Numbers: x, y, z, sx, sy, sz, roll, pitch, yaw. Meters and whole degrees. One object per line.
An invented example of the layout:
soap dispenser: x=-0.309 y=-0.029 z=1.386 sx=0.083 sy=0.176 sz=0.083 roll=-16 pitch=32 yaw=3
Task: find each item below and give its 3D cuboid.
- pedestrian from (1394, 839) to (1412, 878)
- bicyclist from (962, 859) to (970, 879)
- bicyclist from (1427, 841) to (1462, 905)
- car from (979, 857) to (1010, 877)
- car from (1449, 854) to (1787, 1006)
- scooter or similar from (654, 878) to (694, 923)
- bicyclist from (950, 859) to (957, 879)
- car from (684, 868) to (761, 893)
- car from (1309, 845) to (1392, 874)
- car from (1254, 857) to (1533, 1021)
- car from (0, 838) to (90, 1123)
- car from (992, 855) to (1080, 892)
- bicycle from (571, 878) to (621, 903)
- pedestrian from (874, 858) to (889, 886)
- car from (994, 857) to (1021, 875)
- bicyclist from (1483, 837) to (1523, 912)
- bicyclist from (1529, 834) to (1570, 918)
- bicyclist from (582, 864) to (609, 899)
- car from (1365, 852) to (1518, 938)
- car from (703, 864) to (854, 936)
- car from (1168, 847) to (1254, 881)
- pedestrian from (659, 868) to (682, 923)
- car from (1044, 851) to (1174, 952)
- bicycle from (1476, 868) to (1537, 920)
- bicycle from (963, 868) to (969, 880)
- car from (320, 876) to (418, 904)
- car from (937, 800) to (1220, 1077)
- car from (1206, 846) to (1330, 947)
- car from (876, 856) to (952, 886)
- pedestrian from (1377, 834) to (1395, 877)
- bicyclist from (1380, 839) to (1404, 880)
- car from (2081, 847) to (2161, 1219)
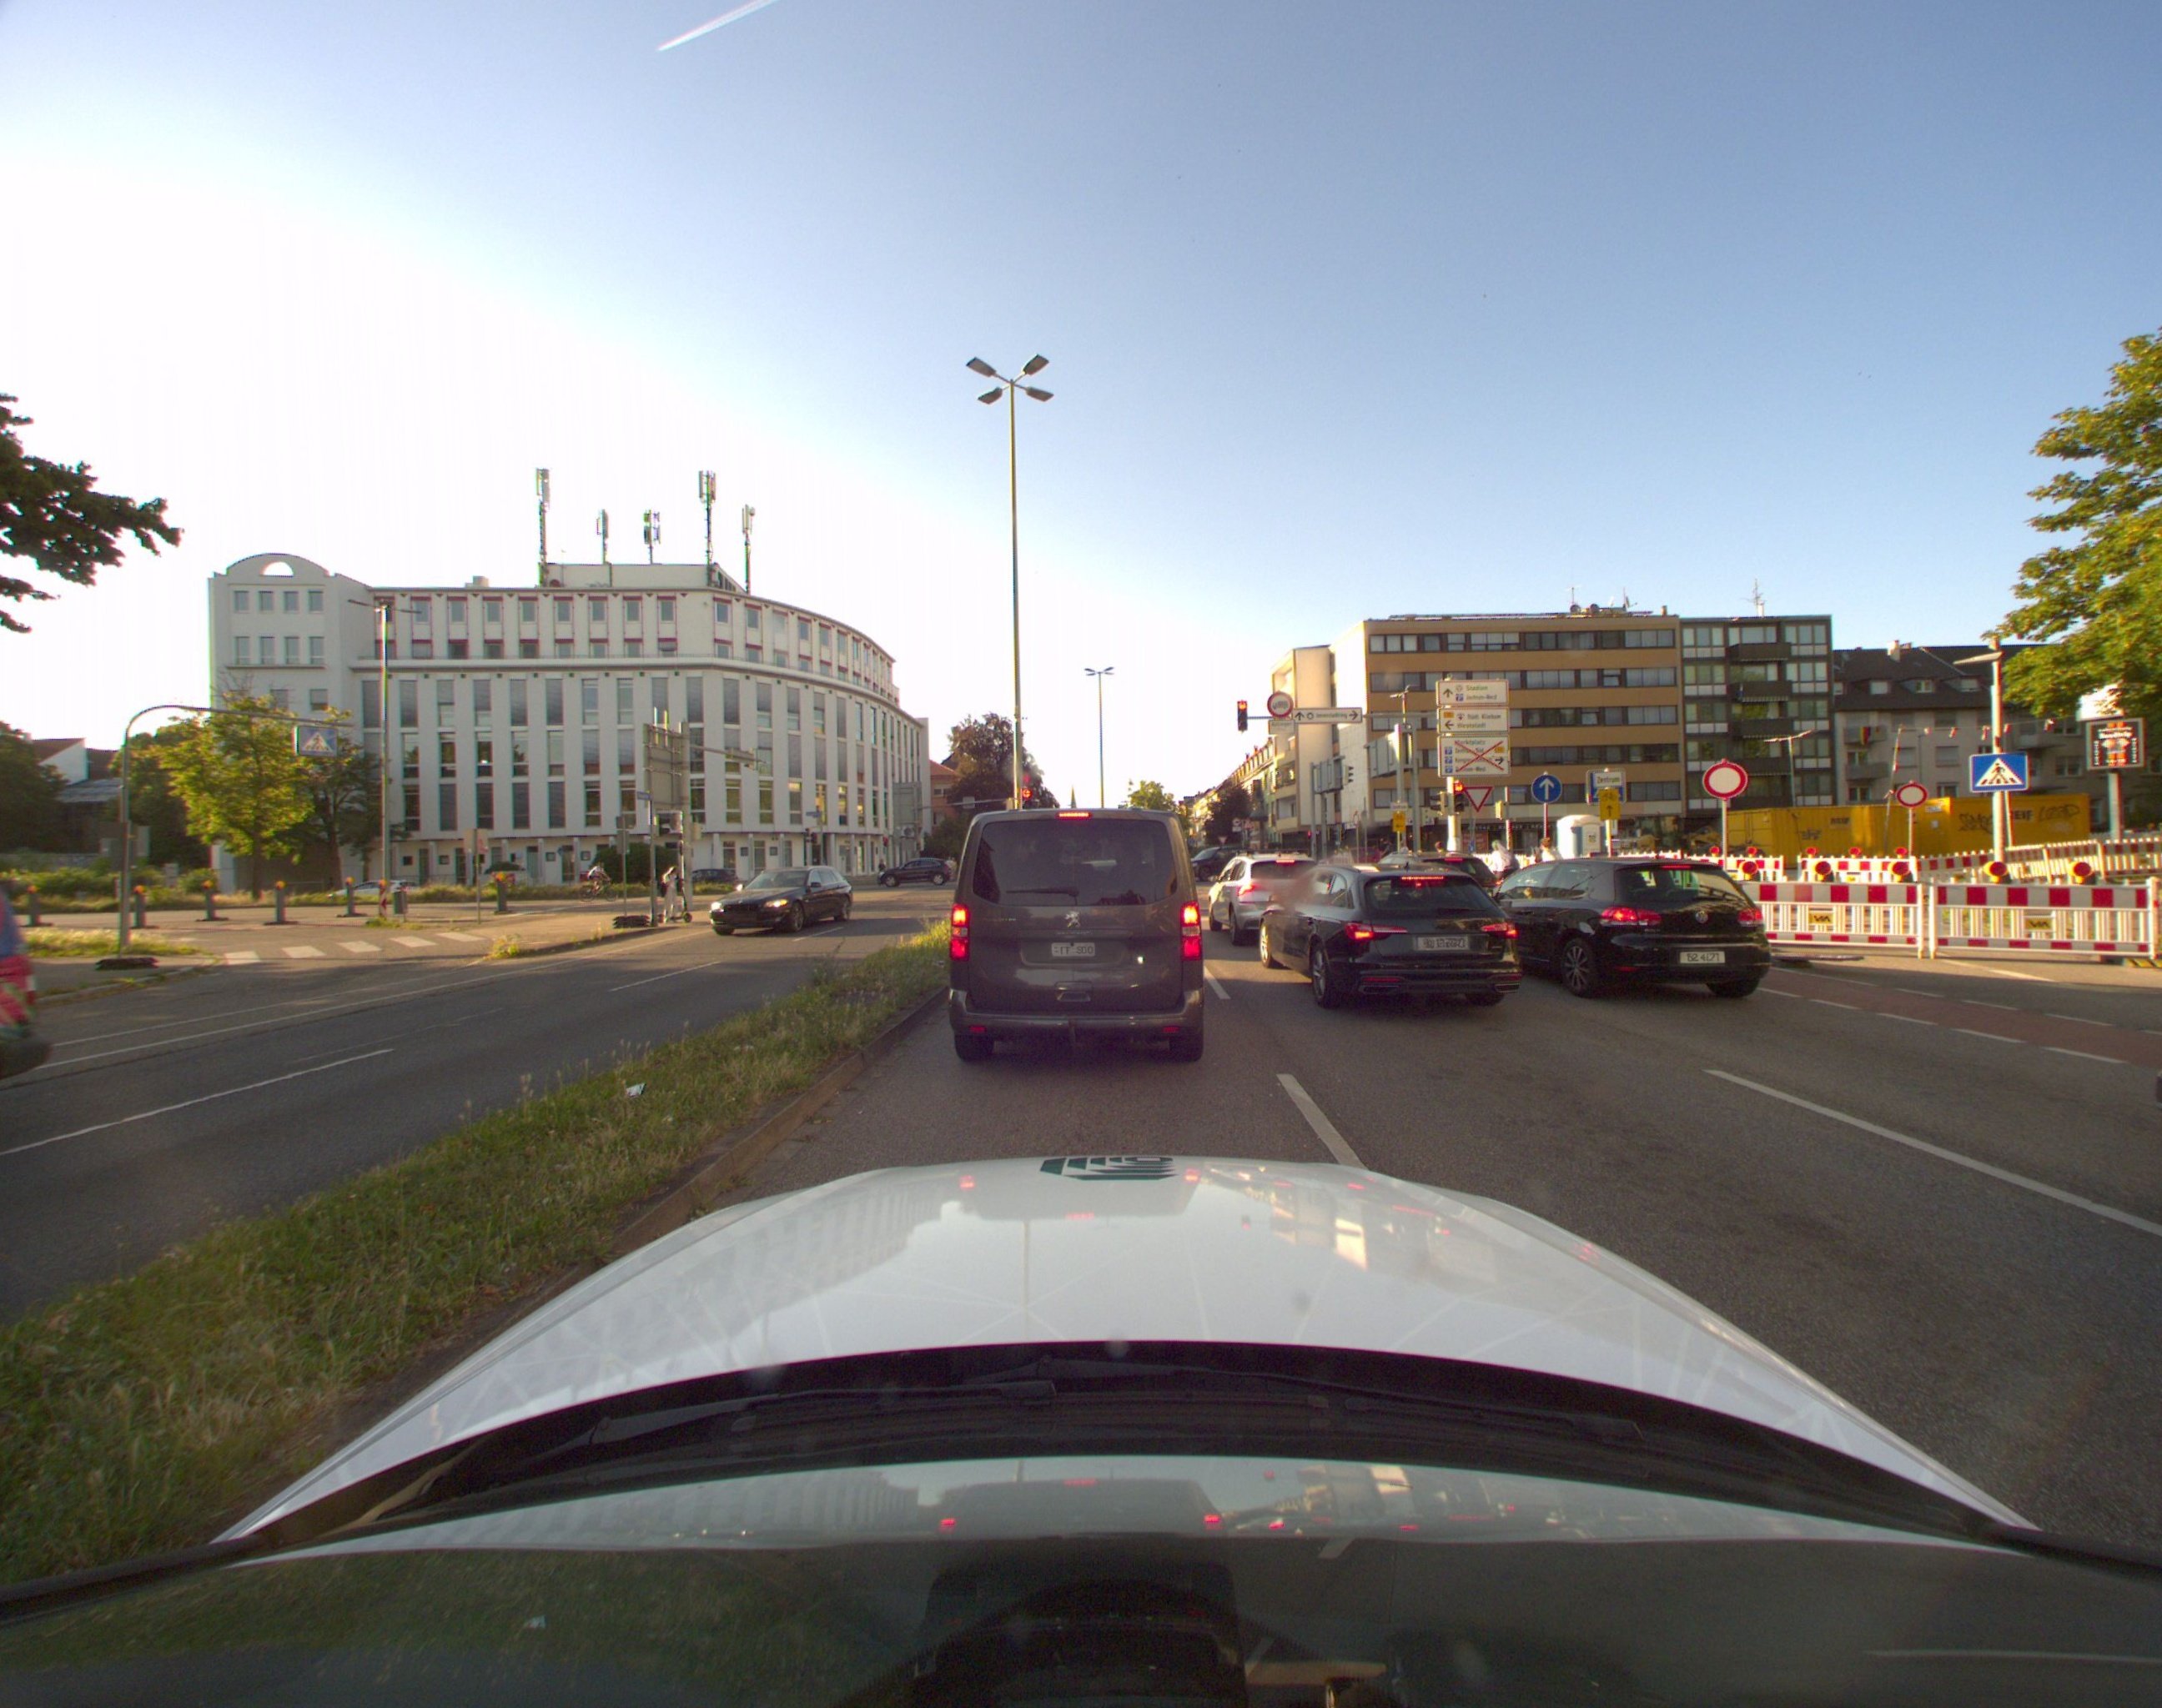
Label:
pedestrian: x=14.017 y=0.199 z=35.455 sx=0.599 sy=1.671 sz=0.455 roll=-2 pitch=0 yaw=3
bicyclist: x=-8.919 y=1.136 z=63.348 sx=0.475 sy=1.555 sz=0.510 roll=-2 pitch=0 yaw=1
bicyclist: x=8.975 y=0.457 z=20.126 sx=0.511 sy=1.525 sz=0.725 roll=-2 pitch=0 yaw=1
car: x=-6.613 y=0.975 z=62.746 sx=1.850 sy=1.420 sz=4.000 roll=-2 pitch=0 yaw=0
car: x=5.965 y=0.728 z=9.642 sx=1.627 sy=1.449 sz=3.746 roll=0 pitch=0 yaw=2
scooter or similar: x=-11.476 y=1.302 z=22.982 sx=0.893 sy=1.234 sz=0.370 roll=-2 pitch=0 yaw=-10
bicyclist: x=-9.920 y=1.164 z=63.409 sx=0.461 sy=1.522 sz=0.469 roll=-2 pitch=0 yaw=1
car: x=-20.361 y=1.484 z=46.386 sx=3.602 sy=1.296 sz=1.832 roll=-2 pitch=0 yaw=-7
car: x=14.560 y=0.300 z=44.088 sx=3.990 sy=1.418 sz=1.675 roll=-2 pitch=0 yaw=-12
car: x=3.199 y=0.757 z=9.276 sx=1.675 sy=1.421 sz=4.215 roll=0 pitch=0 yaw=2
car: x=-7.927 y=0.836 z=3.546 sx=1.987 sy=1.817 sz=4.229 roll=-2 pitch=0 yaw=0
car: x=-1.838 y=0.802 z=34.489 sx=1.660 sy=1.418 sz=4.025 roll=-2 pitch=0 yaw=32
bicycle: x=-21.200 y=1.586 z=35.598 sx=1.795 sy=1.042 sz=0.502 roll=-2 pitch=0 yaw=-5
pedestrian: x=-12.646 y=1.150 z=51.648 sx=0.663 sy=1.722 sz=0.632 roll=-2 pitch=0 yaw=39
car: x=-6.144 y=0.971 z=68.428 sx=1.850 sy=1.420 sz=4.000 roll=-2 pitch=0 yaw=0
bicyclist: x=8.908 y=0.423 z=17.190 sx=0.439 sy=1.525 sz=0.725 roll=-2 pitch=0 yaw=2
bicyclist: x=8.641 y=0.398 z=15.036 sx=0.439 sy=1.525 sz=0.482 roll=-2 pitch=0 yaw=1
bicyclist: x=-21.219 y=1.190 z=35.609 sx=0.884 sy=1.496 sz=0.457 roll=-2 pitch=0 yaw=-5
car: x=6.640 y=0.693 z=15.340 sx=1.499 sy=1.449 sz=3.306 roll=0 pitch=0 yaw=2
car: x=-7.078 y=1.009 z=19.556 sx=1.689 sy=1.441 sz=4.248 roll=-2 pitch=0 yaw=5
car: x=6.416 y=0.477 z=40.218 sx=4.011 sy=1.516 sz=1.666 roll=-2 pitch=0 yaw=-29
pedestrian: x=-11.582 y=1.165 z=22.979 sx=0.474 sy=1.505 sz=0.334 roll=-2 pitch=0 yaw=-10
car: x=0.500 y=0.748 z=14.739 sx=1.986 sy=1.530 sz=4.002 roll=-2 pitch=0 yaw=2
bicycle: x=8.910 y=0.808 z=17.105 sx=0.335 sy=1.008 sz=1.856 roll=-2 pitch=0 yaw=2
bicycle: x=-8.924 y=1.562 z=63.356 sx=0.275 sy=0.949 sz=1.073 roll=-2 pitch=0 yaw=2
car: x=-38.990 y=1.948 z=44.658 sx=3.775 sy=1.372 sz=1.648 roll=-2 pitch=0 yaw=-4
car: x=0.051 y=0.571 z=7.760 sx=1.900 sy=1.863 sz=4.528 roll=0 pitch=0 yaw=2
car: x=3.294 y=0.690 z=14.943 sx=1.523 sy=1.613 sz=3.746 roll=0 pitch=0 yaw=2
car: x=-9.732 y=1.007 z=47.747 sx=4.109 sy=1.594 sz=1.793 roll=-2 pitch=-2 yaw=-4
pedestrian: x=13.254 y=0.070 z=35.358 sx=0.567 sy=1.834 sz=0.488 roll=-2 pitch=0 yaw=4
bicyclist: x=12.428 y=0.207 z=32.549 sx=0.616 sy=1.589 sz=0.814 roll=0 pitch=0 yaw=-2
car: x=5.134 y=0.687 z=1.106 sx=1.809 sy=1.449 sz=4.665 roll=-1 pitch=0 yaw=-1
